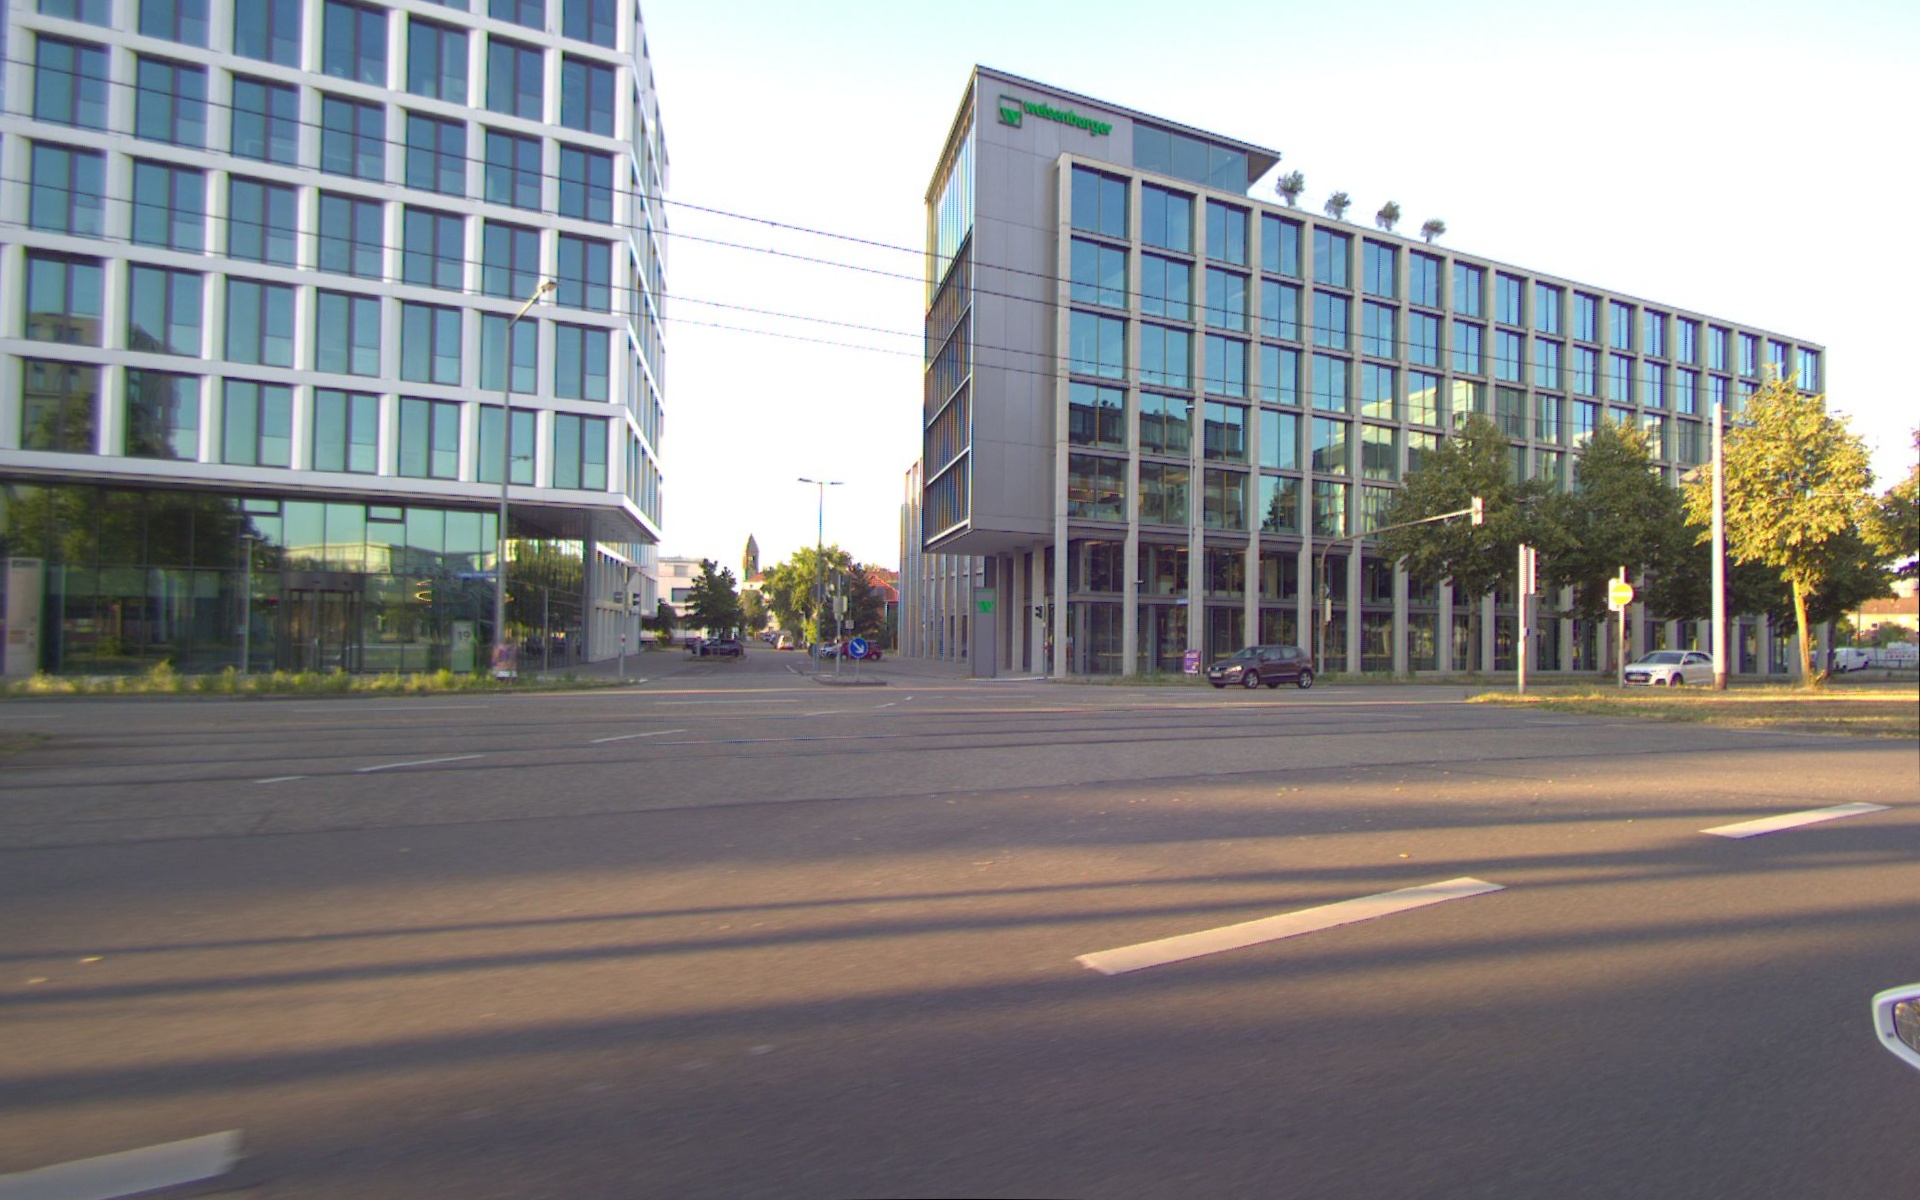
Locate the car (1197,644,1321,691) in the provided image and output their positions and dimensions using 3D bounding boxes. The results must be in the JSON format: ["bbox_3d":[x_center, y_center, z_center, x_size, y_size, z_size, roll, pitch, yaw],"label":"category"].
[{"bbox_3d":[9.989,2.226,33.465,3.949,1.468,1.635,2,-2,-27],"label":"car"}]

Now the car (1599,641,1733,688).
[{"bbox_3d":[24.262,2.201,34.498,4.572,1.505,1.896,2,-2,-27],"label":"car"}]

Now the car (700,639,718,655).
[{"bbox_3d":[-28.693,5.369,114.960,1.777,1.817,3.800,1,-2,-12],"label":"car"}]

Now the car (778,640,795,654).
[{"bbox_3d":[-21.515,5.822,124.335,1.964,1.746,3.993,1,-2,-10],"label":"car"}]

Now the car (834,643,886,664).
[{"bbox_3d":[-7.960,4.275,79.995,3.932,1.576,1.699,1,-2,-14],"label":"car"}]

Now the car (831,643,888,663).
[{"bbox_3d":[-8.245,4.347,82.245,4.460,1.576,1.698,1,-2,-17],"label":"car"}]

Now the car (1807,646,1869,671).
[{"bbox_3d":[76.394,5.080,87.398,5.015,2.040,2.200,2,-2,-25],"label":"car"}]

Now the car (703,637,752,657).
[{"bbox_3d":[-20.250,4.091,87.424,3.940,1.686,1.991,1,-2,-20],"label":"car"}]

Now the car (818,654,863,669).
[{"bbox_3d":[-10.310,5.320,86.585,3.611,1.235,1.519,1,-2,-15],"label":"car"}]
